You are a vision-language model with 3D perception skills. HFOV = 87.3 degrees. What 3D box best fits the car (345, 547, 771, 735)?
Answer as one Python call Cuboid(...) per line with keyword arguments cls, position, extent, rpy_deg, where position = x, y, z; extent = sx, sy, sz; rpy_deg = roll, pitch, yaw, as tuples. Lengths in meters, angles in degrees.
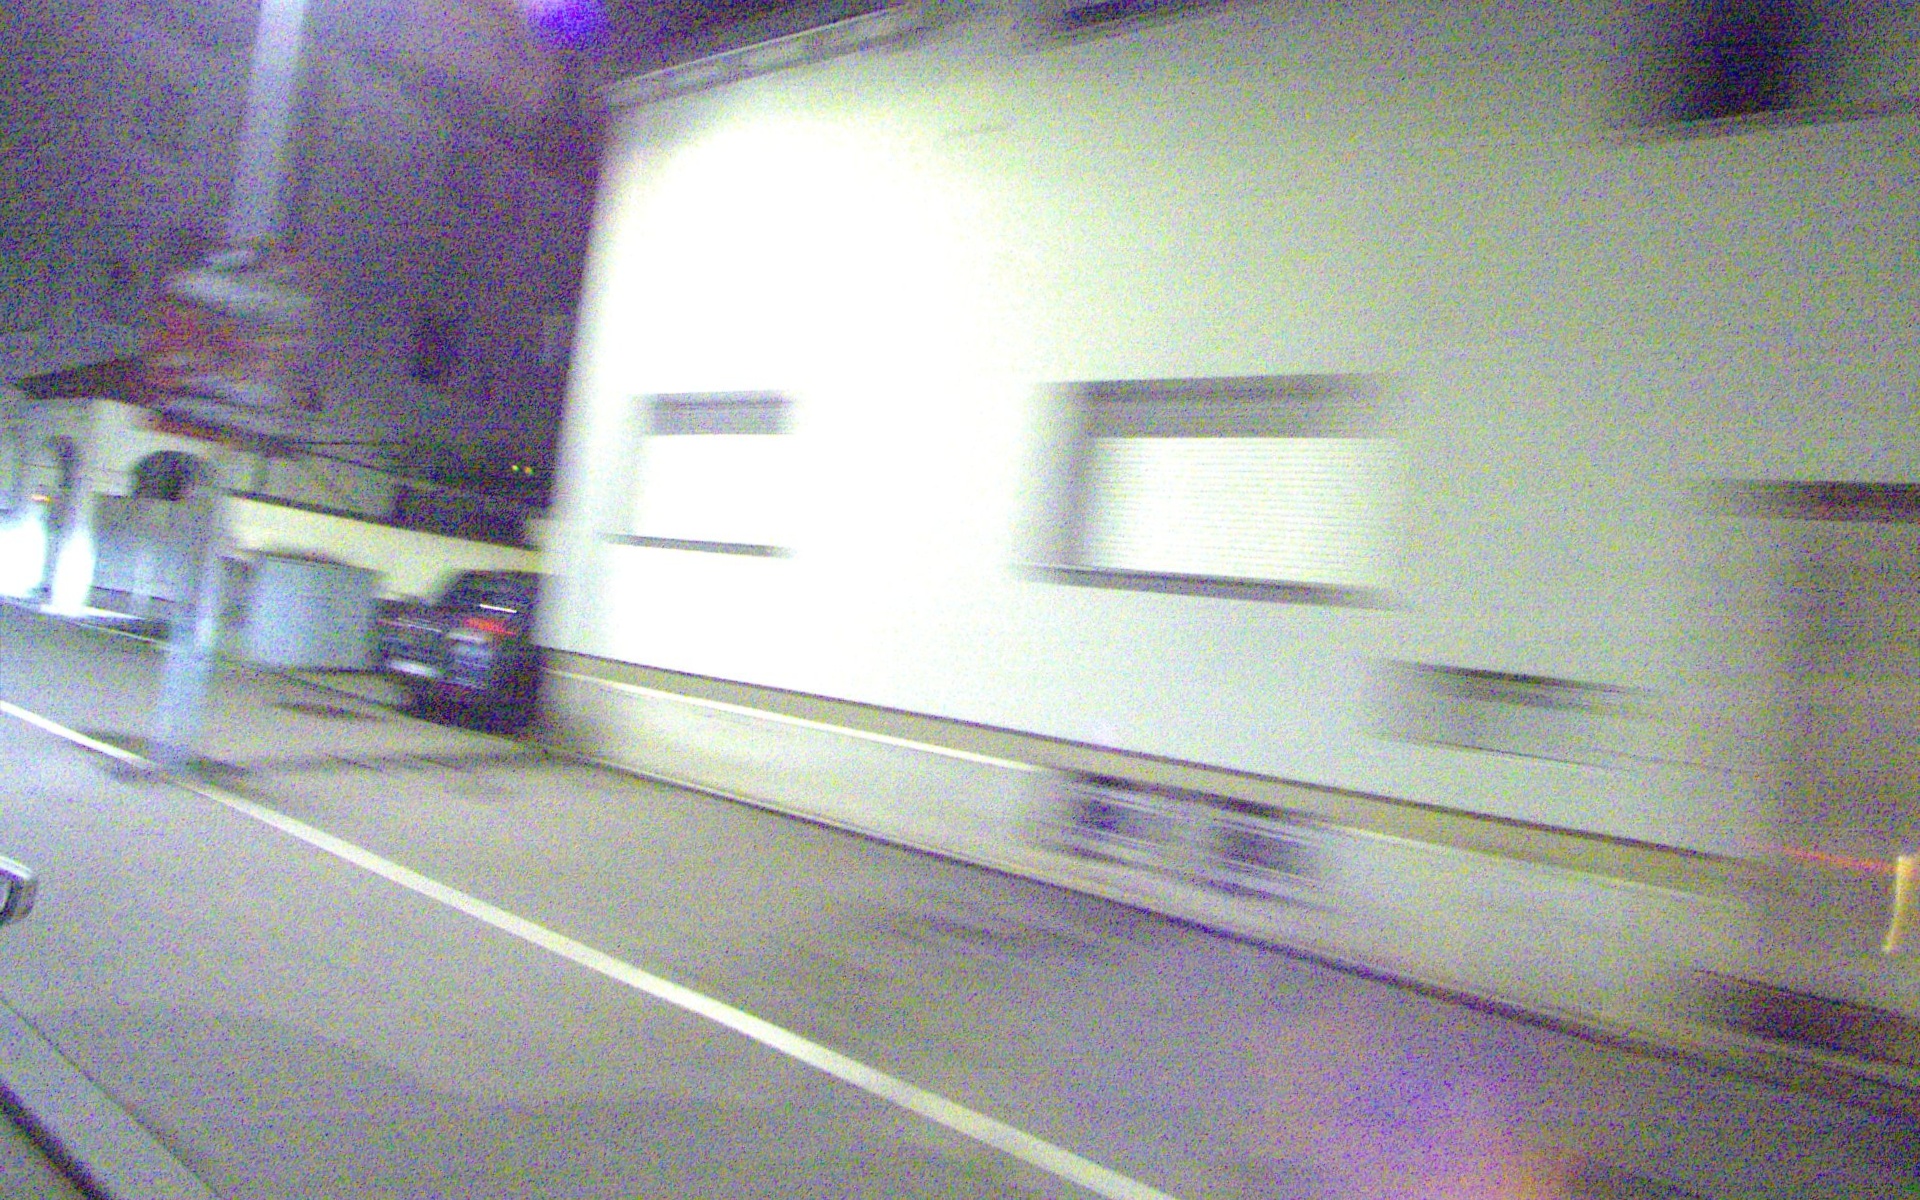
Cuboid(cls="car", position=(-3.999, 0.528, 10.575), extent=(1.703, 1.489, 3.718), rpy_deg=(6, -3, 34))
